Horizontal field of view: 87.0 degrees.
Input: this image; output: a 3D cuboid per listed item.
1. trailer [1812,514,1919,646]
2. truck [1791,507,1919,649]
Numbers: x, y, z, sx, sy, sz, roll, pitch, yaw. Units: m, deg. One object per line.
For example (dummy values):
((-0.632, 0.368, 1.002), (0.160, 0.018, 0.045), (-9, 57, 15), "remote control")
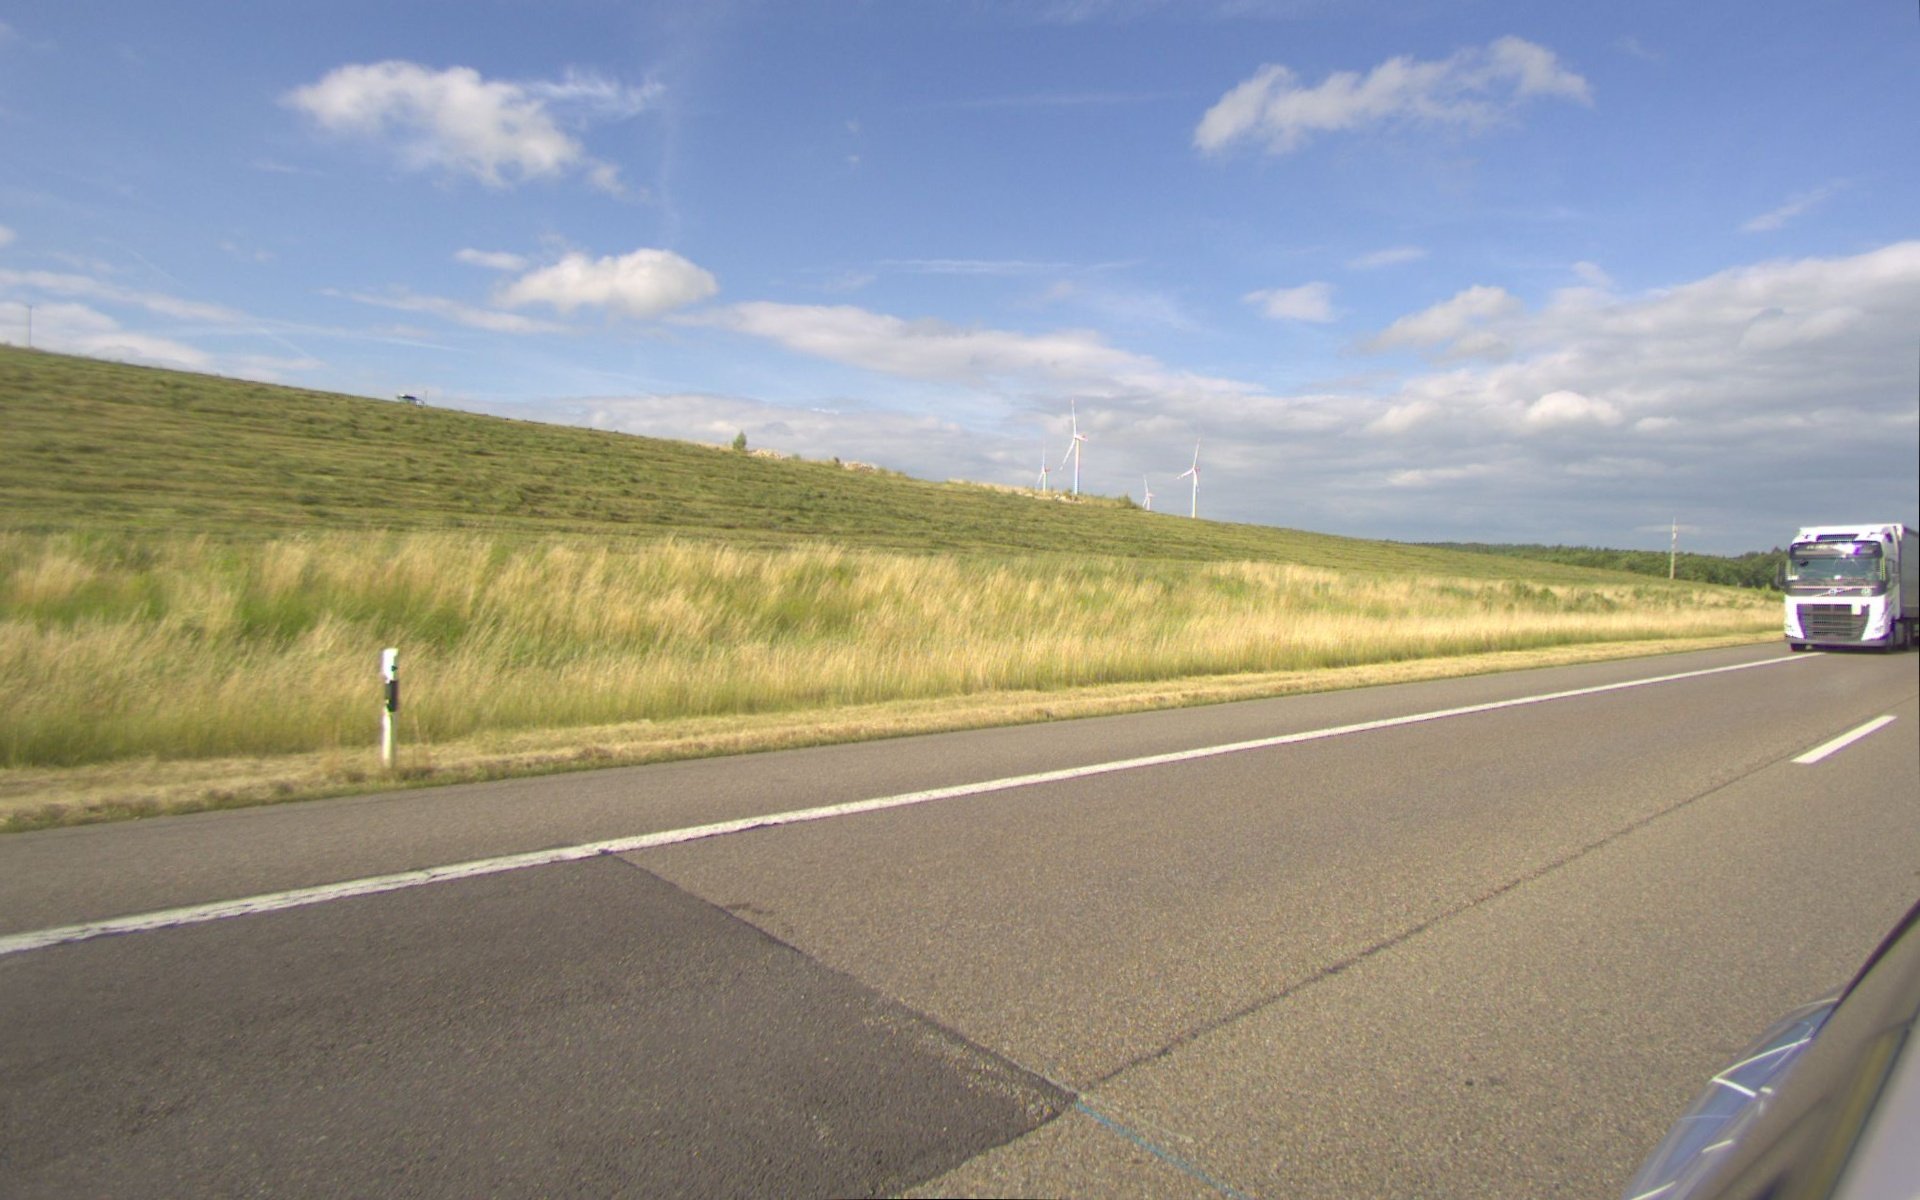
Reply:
((34.000, -0.615, 36.779), (13.460, 4.092, 2.621), (0, -1, -41), "trailer")
((28.666, -0.624, 32.106), (6.013, 4.092, 2.605), (0, -1, -41), "truck")
